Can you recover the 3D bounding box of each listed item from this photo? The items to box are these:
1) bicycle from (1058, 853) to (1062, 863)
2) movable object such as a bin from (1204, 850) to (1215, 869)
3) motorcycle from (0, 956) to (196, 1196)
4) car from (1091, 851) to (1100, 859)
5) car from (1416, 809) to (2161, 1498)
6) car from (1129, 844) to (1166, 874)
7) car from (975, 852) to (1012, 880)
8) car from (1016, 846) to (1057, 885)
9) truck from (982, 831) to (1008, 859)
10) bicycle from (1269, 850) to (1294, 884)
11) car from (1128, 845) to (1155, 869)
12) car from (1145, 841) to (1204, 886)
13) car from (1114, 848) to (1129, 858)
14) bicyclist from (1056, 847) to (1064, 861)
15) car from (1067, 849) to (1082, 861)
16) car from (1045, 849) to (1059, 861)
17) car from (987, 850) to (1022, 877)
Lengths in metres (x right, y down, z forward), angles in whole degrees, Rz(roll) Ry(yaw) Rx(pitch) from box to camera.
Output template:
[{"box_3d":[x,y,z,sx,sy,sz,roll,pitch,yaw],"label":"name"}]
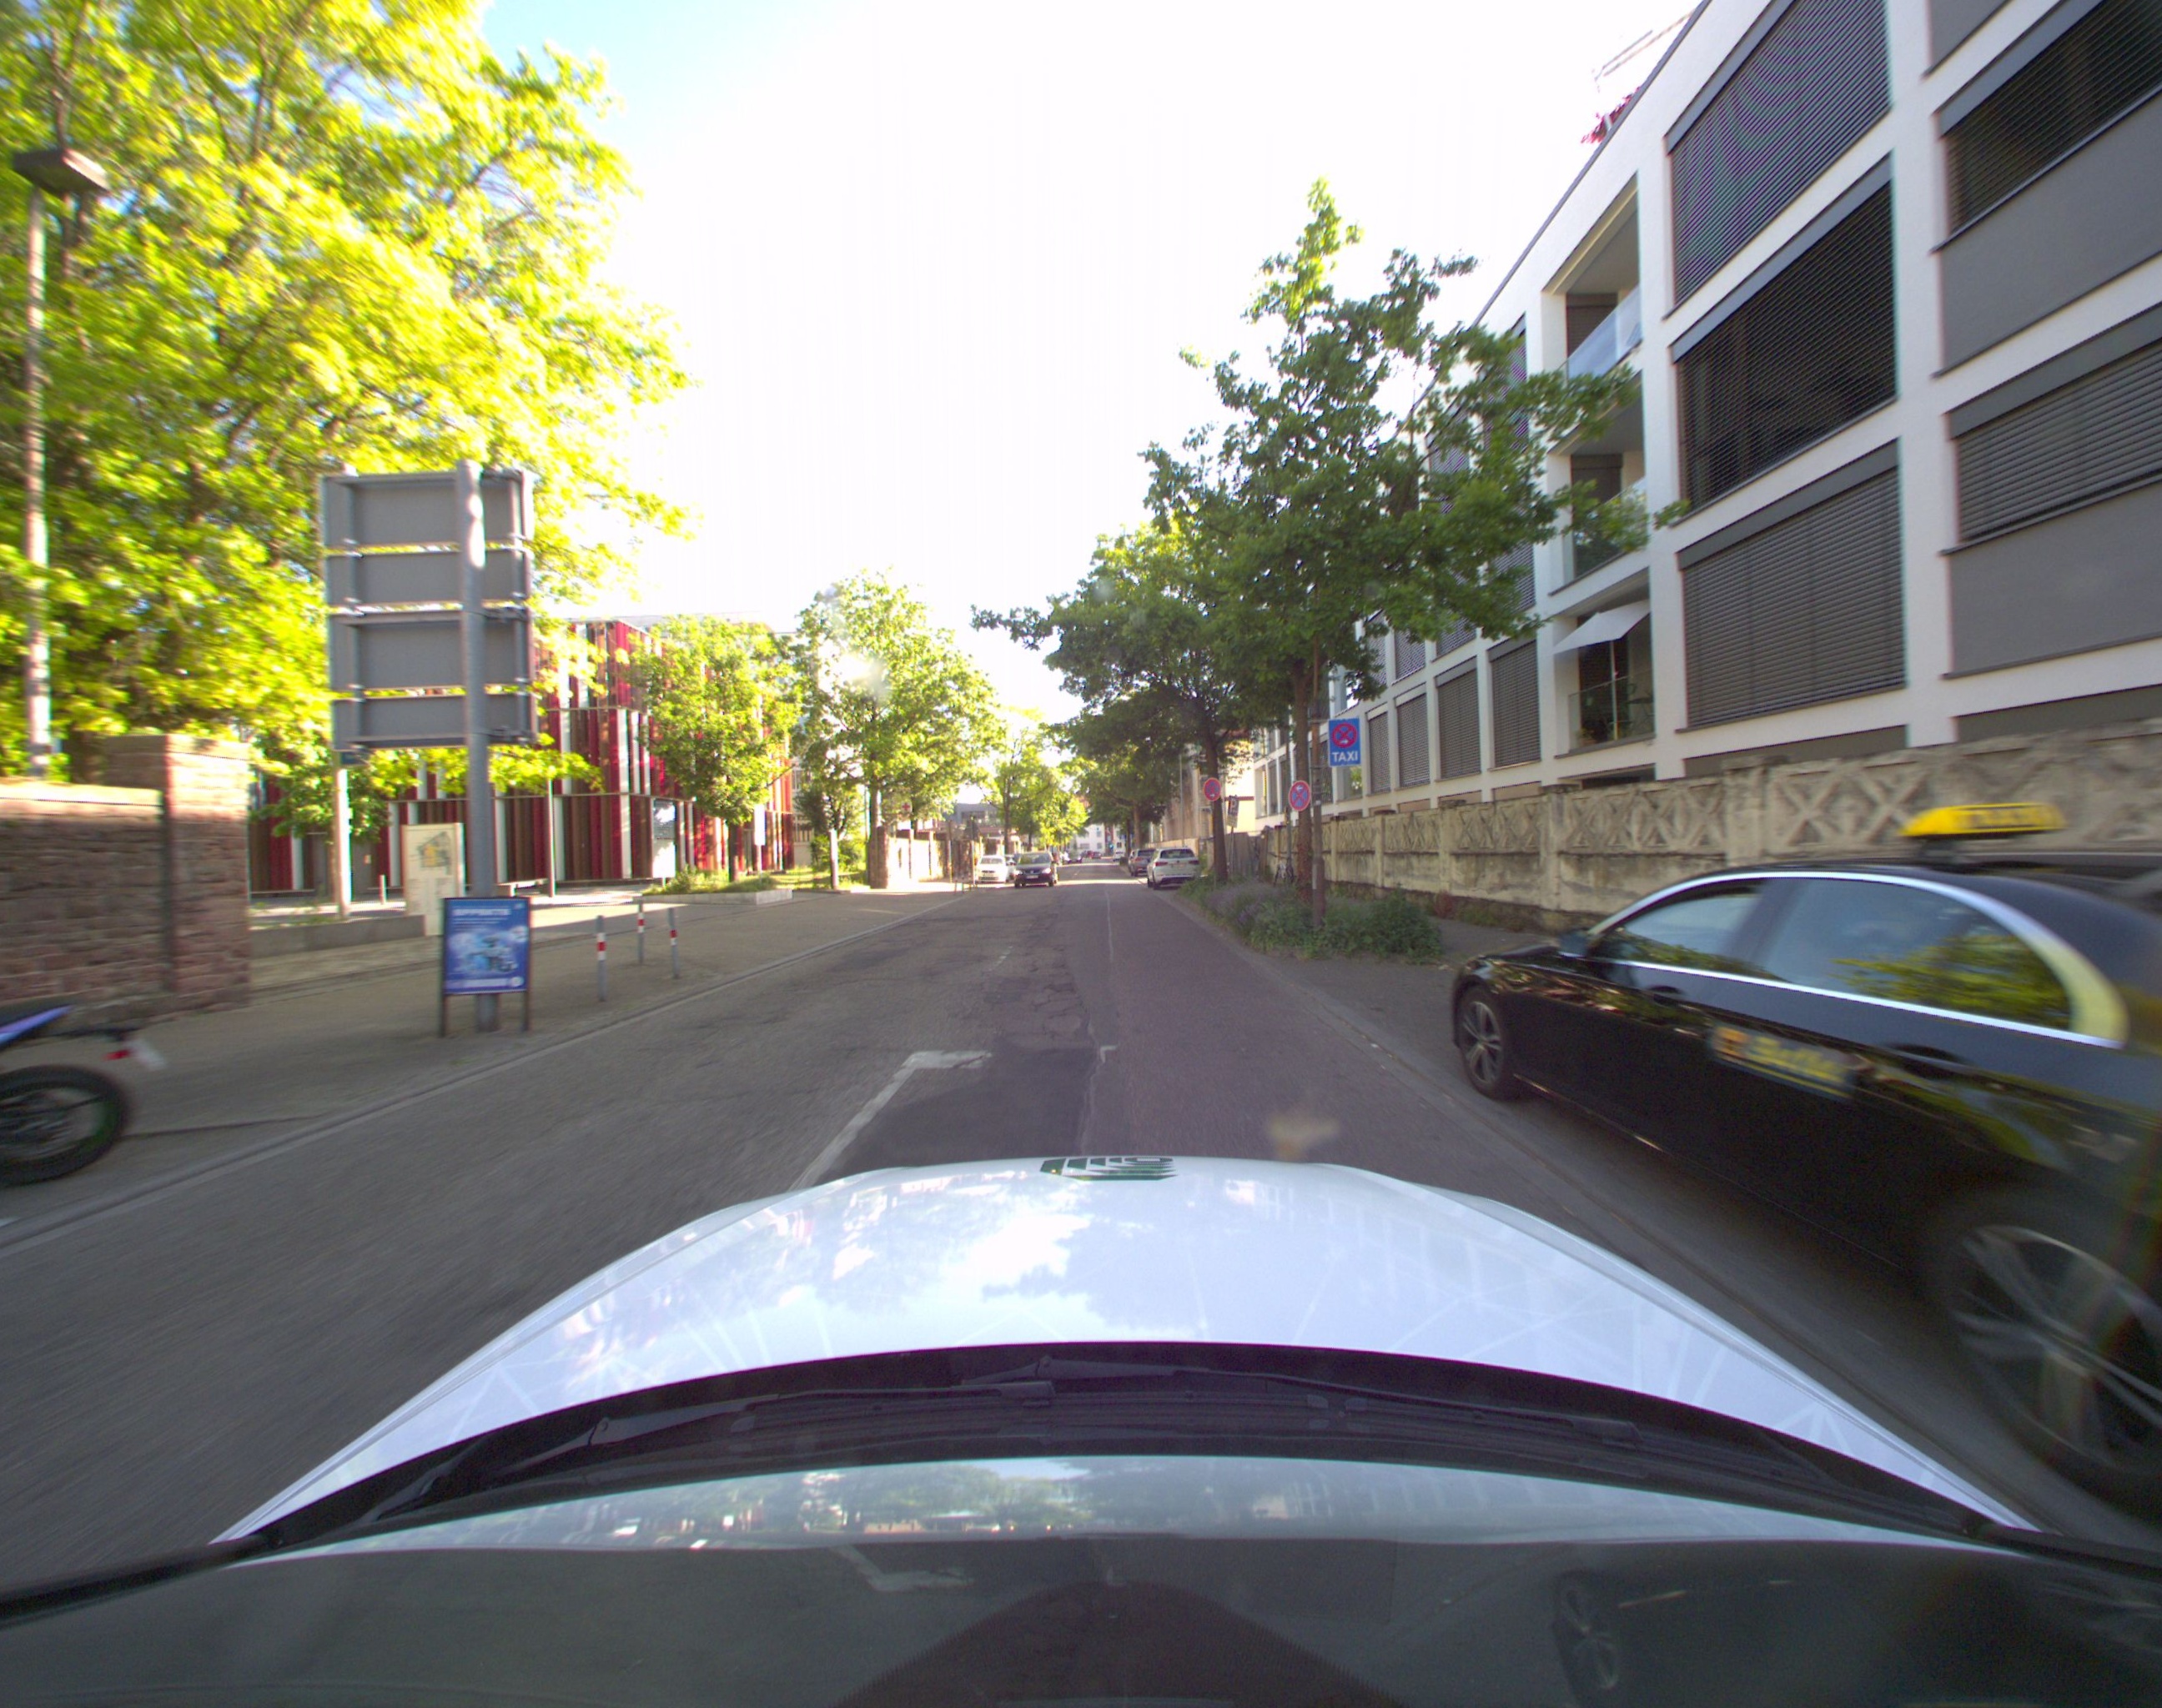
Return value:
[{"box_3d":[-2.332,0.451,90.516,0.356,1.120,1.867,0,0,2],"label":"bicycle"},{"box_3d":[7.091,0.291,44.912,0.595,1.027,0.565,0,0,4],"label":"movable object such as a bin"},{"box_3d":[-5.674,1.137,3.707,0.593,1.032,2.142,-1,1,35],"label":"motorcycle"},{"box_3d":[2.678,0.243,149.577,1.633,1.443,3.422,0,0,1],"label":"car"},{"box_3d":[3.095,0.565,3.174,1.714,1.410,4.765,-2,1,2],"label":"car"},{"box_3d":[3.829,0.252,47.726,1.707,1.638,4.301,-2,0,-1],"label":"car"},{"box_3d":[-4.650,0.606,43.669,1.569,1.402,3.750,2,0,0],"label":"car"},{"box_3d":[-1.993,0.501,37.670,1.639,1.611,4.019,-4,0,-1],"label":"car"},{"box_3d":[-11.781,-1.175,111.827,2.723,3.711,7.429,0,0,1],"label":"truck"},{"box_3d":[6.356,0.388,25.845,0.335,1.041,1.831,-1,0,1],"label":"bicycle"},{"box_3d":[4.212,0.163,56.649,1.716,1.510,3.996,-3,1,4],"label":"car"},{"box_3d":[3.586,0.333,31.795,1.787,1.615,4.125,-1,0,0],"label":"car"},{"box_3d":[5.650,-0.125,112.989,1.826,1.323,4.496,-3,0,0],"label":"car"},{"box_3d":[-2.338,0.011,90.502,0.717,1.522,1.006,0,0,4],"label":"bicyclist"},{"box_3d":[-0.842,0.073,103.564,1.816,1.436,3.968,0,1,-1],"label":"car"},{"box_3d":[-3.717,0.096,105.574,1.603,1.459,3.709,0,0,1],"label":"car"},{"box_3d":[-4.613,0.561,49.642,1.670,1.511,3.851,1,0,1],"label":"car"}]
